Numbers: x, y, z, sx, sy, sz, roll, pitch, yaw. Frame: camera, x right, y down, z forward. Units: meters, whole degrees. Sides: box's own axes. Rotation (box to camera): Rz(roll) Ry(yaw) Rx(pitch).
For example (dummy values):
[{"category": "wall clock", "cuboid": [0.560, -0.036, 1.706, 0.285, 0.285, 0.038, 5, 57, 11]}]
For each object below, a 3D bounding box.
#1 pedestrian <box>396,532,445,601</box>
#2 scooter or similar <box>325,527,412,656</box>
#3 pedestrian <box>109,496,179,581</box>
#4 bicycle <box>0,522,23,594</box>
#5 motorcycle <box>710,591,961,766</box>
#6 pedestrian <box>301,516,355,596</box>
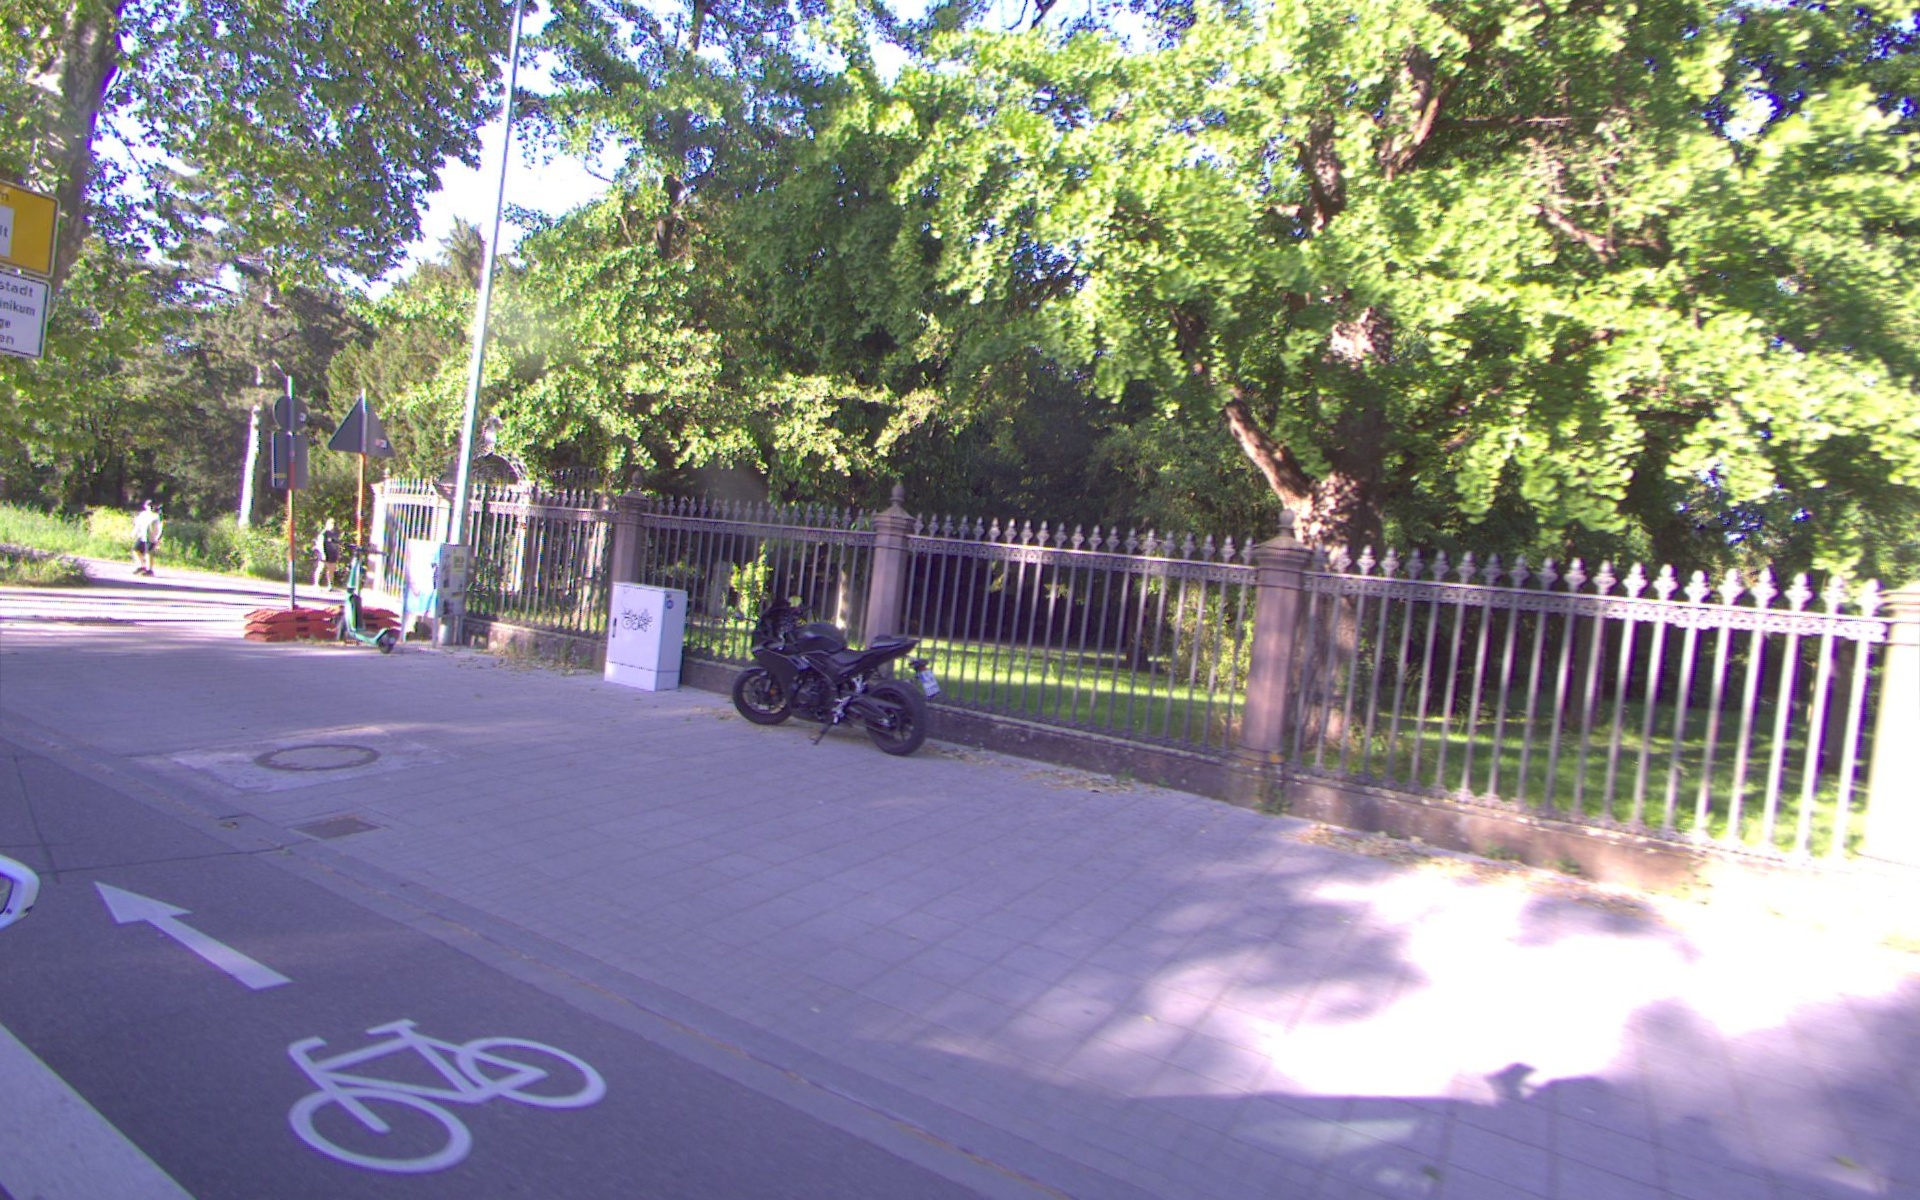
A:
[{"category": "pedestrian", "cuboid": [-14.156, -0.883, 26.390, 0.823, 1.702, 0.685, 6, 0, -44]}, {"category": "scooter or similar", "cuboid": [-6.736, -0.106, 11.437, 1.152, 1.344, 0.228, 7, 2, 31]}, {"category": "pedestrian", "cuboid": [-16.120, -1.208, 19.898, 0.812, 1.536, 0.909, 7, -1, -32]}, {"category": "bicycle", "cuboid": [-13.999, -0.645, 13.387, 0.736, 0.988, 2.098, 7, 1, 19]}, {"category": "motorcycle", "cuboid": [-1.079, 0.600, 8.380, 2.134, 1.146, 0.506, 6, 2, 31]}, {"category": "pedestrian", "cuboid": [-14.469, -1.007, 23.039, 0.633, 1.720, 0.690, 6, 0, 32]}]
